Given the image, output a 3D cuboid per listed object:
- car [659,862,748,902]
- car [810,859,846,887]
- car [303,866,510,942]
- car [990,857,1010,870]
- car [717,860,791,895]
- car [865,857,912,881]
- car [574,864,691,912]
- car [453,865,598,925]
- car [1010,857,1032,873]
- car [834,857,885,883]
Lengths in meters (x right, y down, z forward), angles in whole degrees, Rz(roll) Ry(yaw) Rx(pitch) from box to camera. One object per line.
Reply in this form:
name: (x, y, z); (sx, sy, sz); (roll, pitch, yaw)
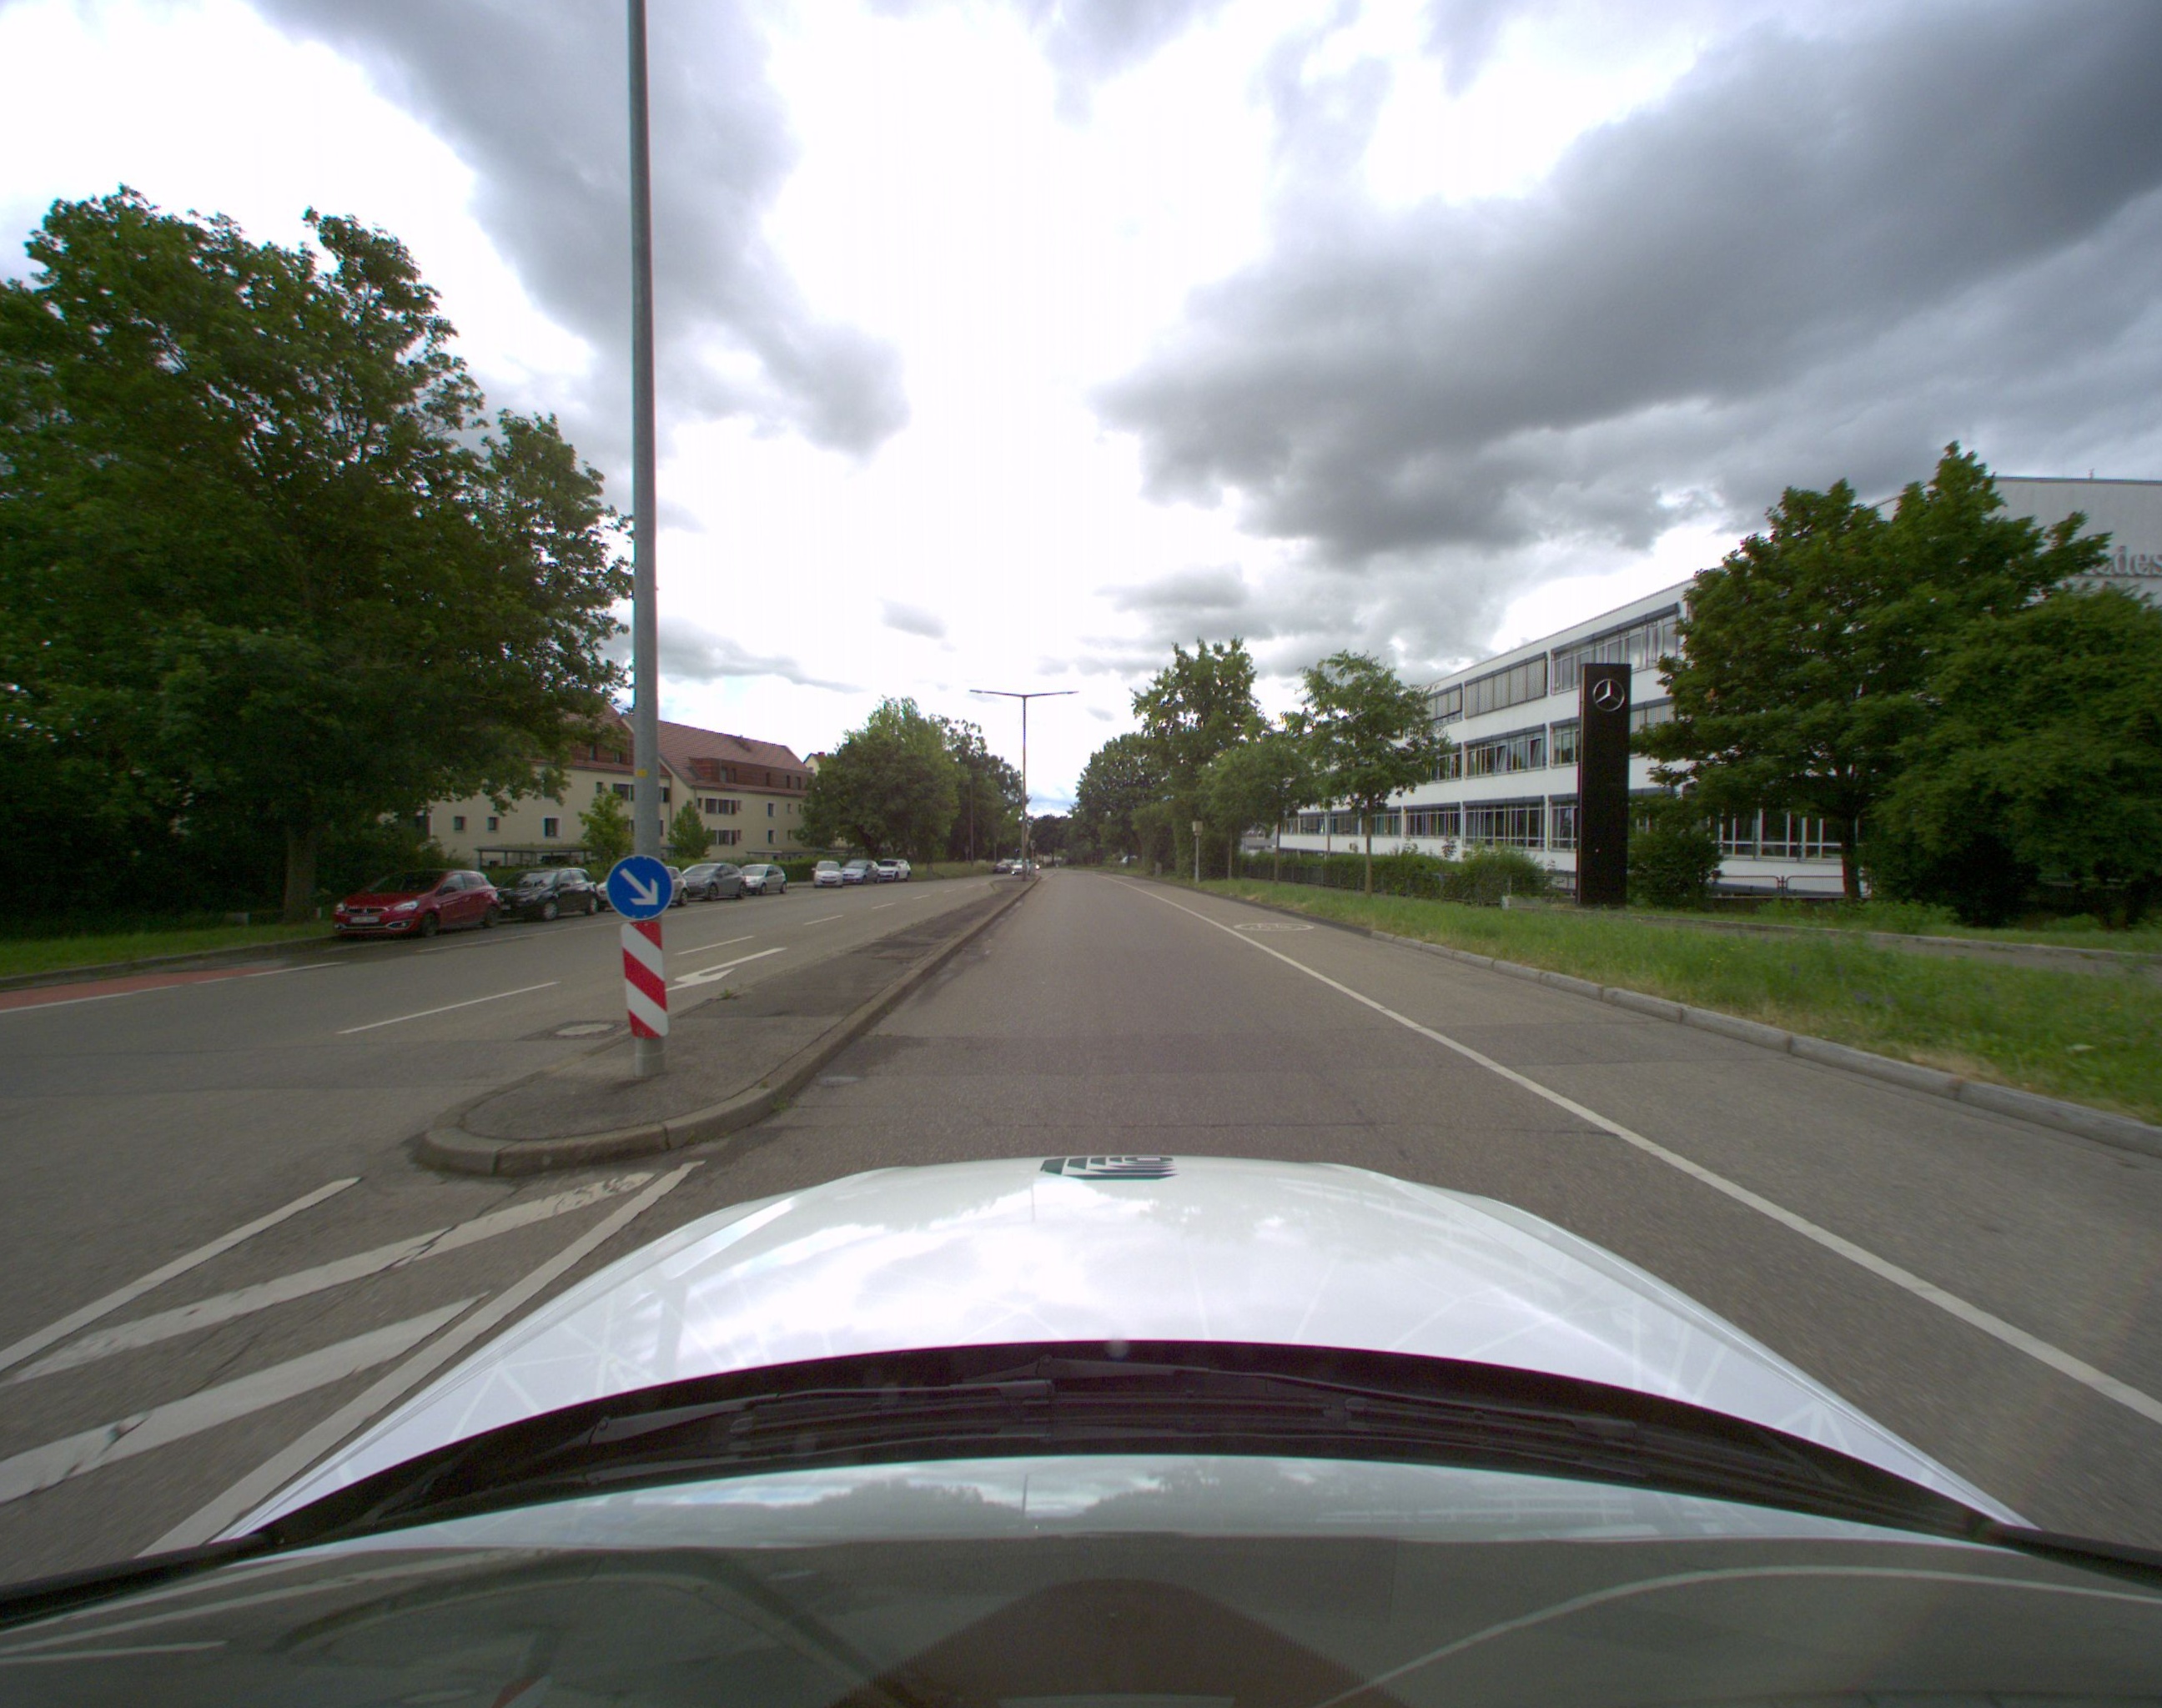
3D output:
car: (-15.587, 1.105, 33.886); (1.869, 1.507, 3.999); (0, 0, -1)
car: (-15.137, 1.095, 48.564); (1.881, 1.507, 3.973); (-1, 0, -20)
car: (-15.312, 1.055, 18.807); (1.874, 1.507, 3.878); (0, 0, -8)
car: (-9.714, 1.156, 97.612); (1.869, 1.570, 4.651); (0, -1, 1)
car: (-15.641, 1.092, 39.149); (1.869, 1.507, 4.000); (-1, 0, 1)
car: (-13.733, 1.058, 58.436); (1.865, 1.667, 4.398); (0, -1, 6)
car: (-15.323, 1.105, 28.119); (1.870, 1.507, 4.054); (0, 0, -2)
car: (-15.524, 1.091, 23.050); (1.875, 1.507, 3.986); (0, 0, -10)
car: (-6.061, 1.145, 82.944); (1.869, 1.570, 4.339); (0, -1, 1)
car: (-14.466, 1.052, 53.338); (1.865, 1.597, 4.007); (0, -1, 6)
